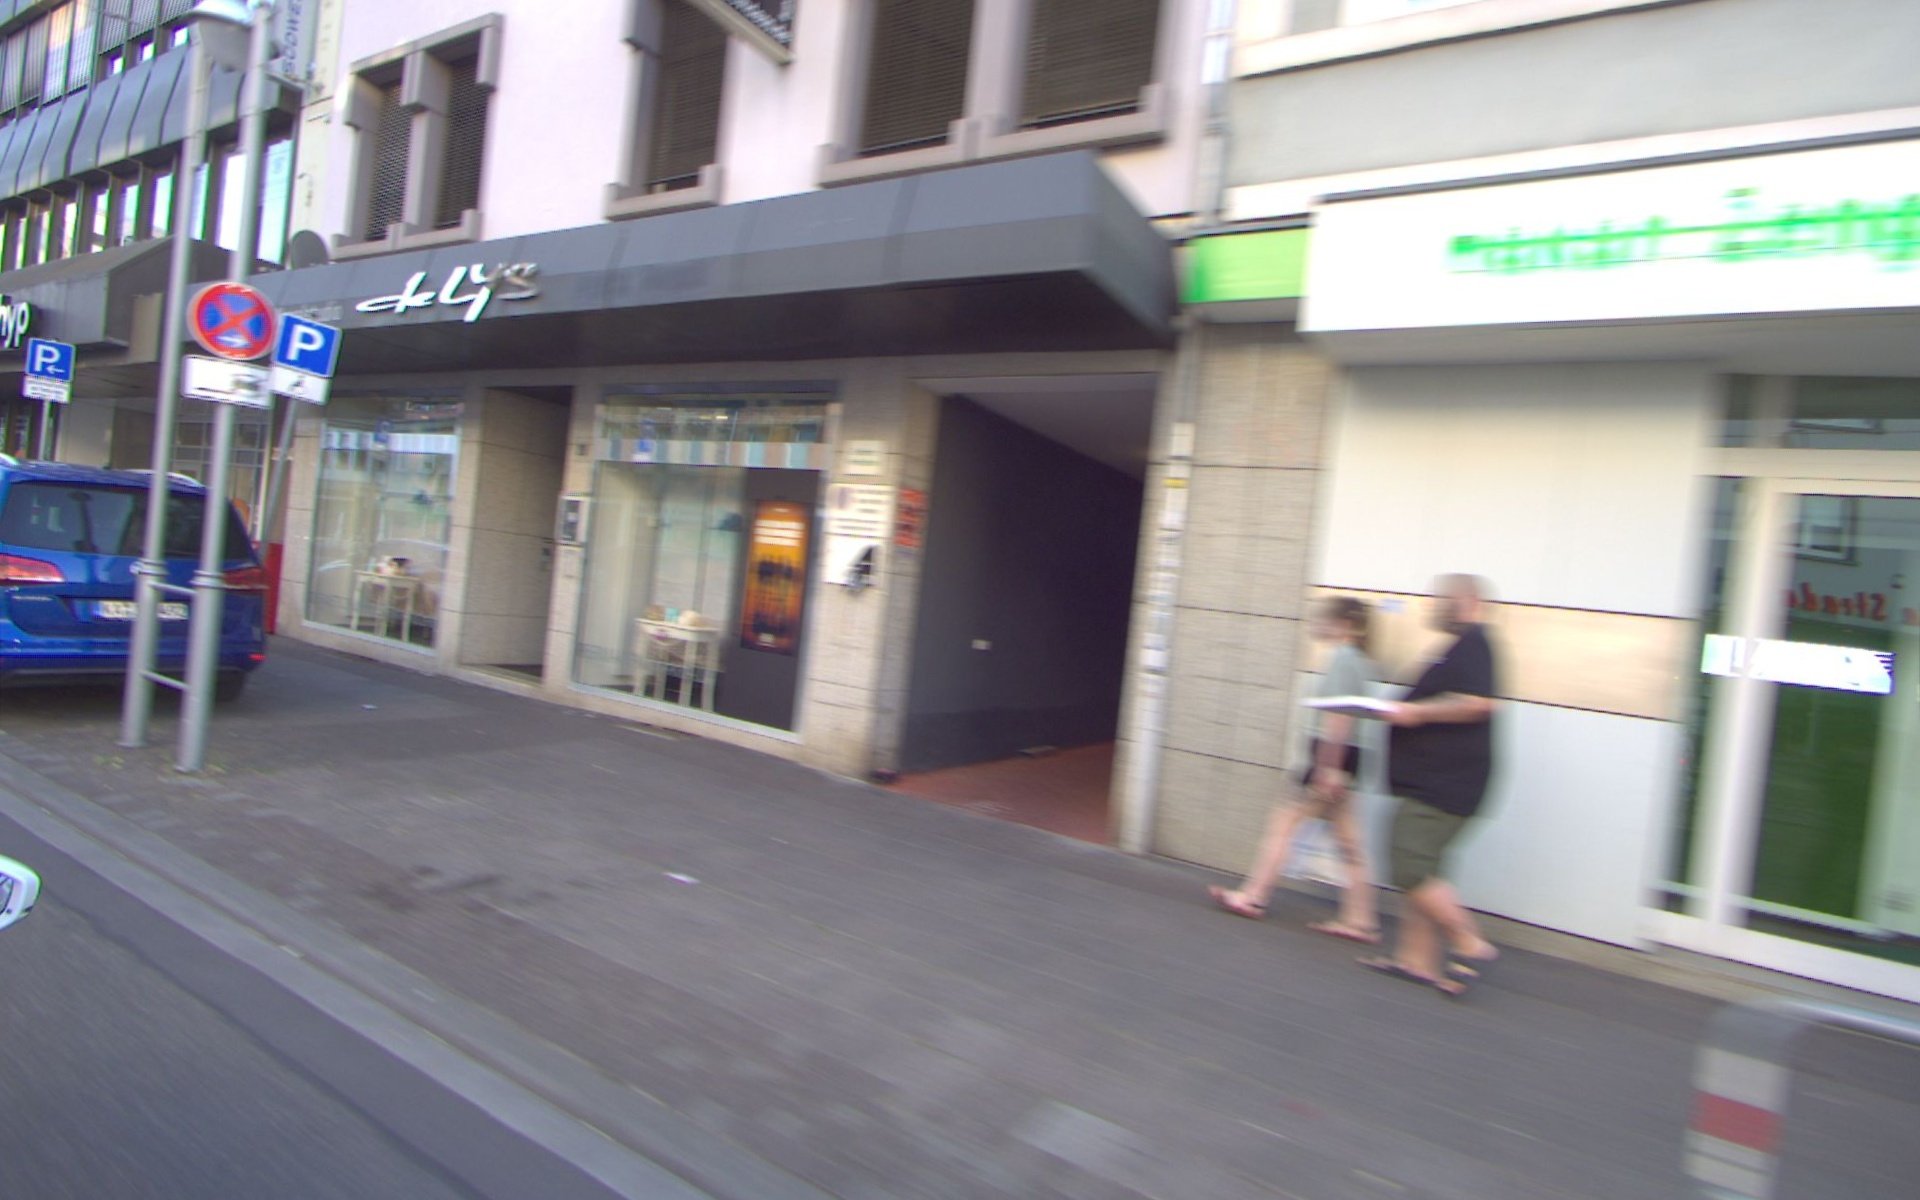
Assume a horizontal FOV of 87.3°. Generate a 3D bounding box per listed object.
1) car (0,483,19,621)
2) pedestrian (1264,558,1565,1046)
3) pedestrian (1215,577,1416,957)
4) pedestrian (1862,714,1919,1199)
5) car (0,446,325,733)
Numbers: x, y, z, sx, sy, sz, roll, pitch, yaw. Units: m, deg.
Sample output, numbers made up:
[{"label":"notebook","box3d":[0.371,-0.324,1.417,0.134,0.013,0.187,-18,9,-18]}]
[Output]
[{"label":"car","box3d":[-12.231,-0.738,11.080,3.823,1.452,1.796,7,2,32]},{"label":"pedestrian","box3d":[2.008,0.790,4.434,0.913,1.830,0.766,7,3,33]},{"label":"pedestrian","box3d":[1.828,0.795,5.165,0.667,1.742,0.649,7,3,33]},{"label":"pedestrian","box3d":[3.463,0.917,2.980,0.864,1.953,0.661,7,2,30]},{"label":"car","box3d":[-7.287,-0.246,7.991,4.501,1.750,1.994,7,2,32]}]
